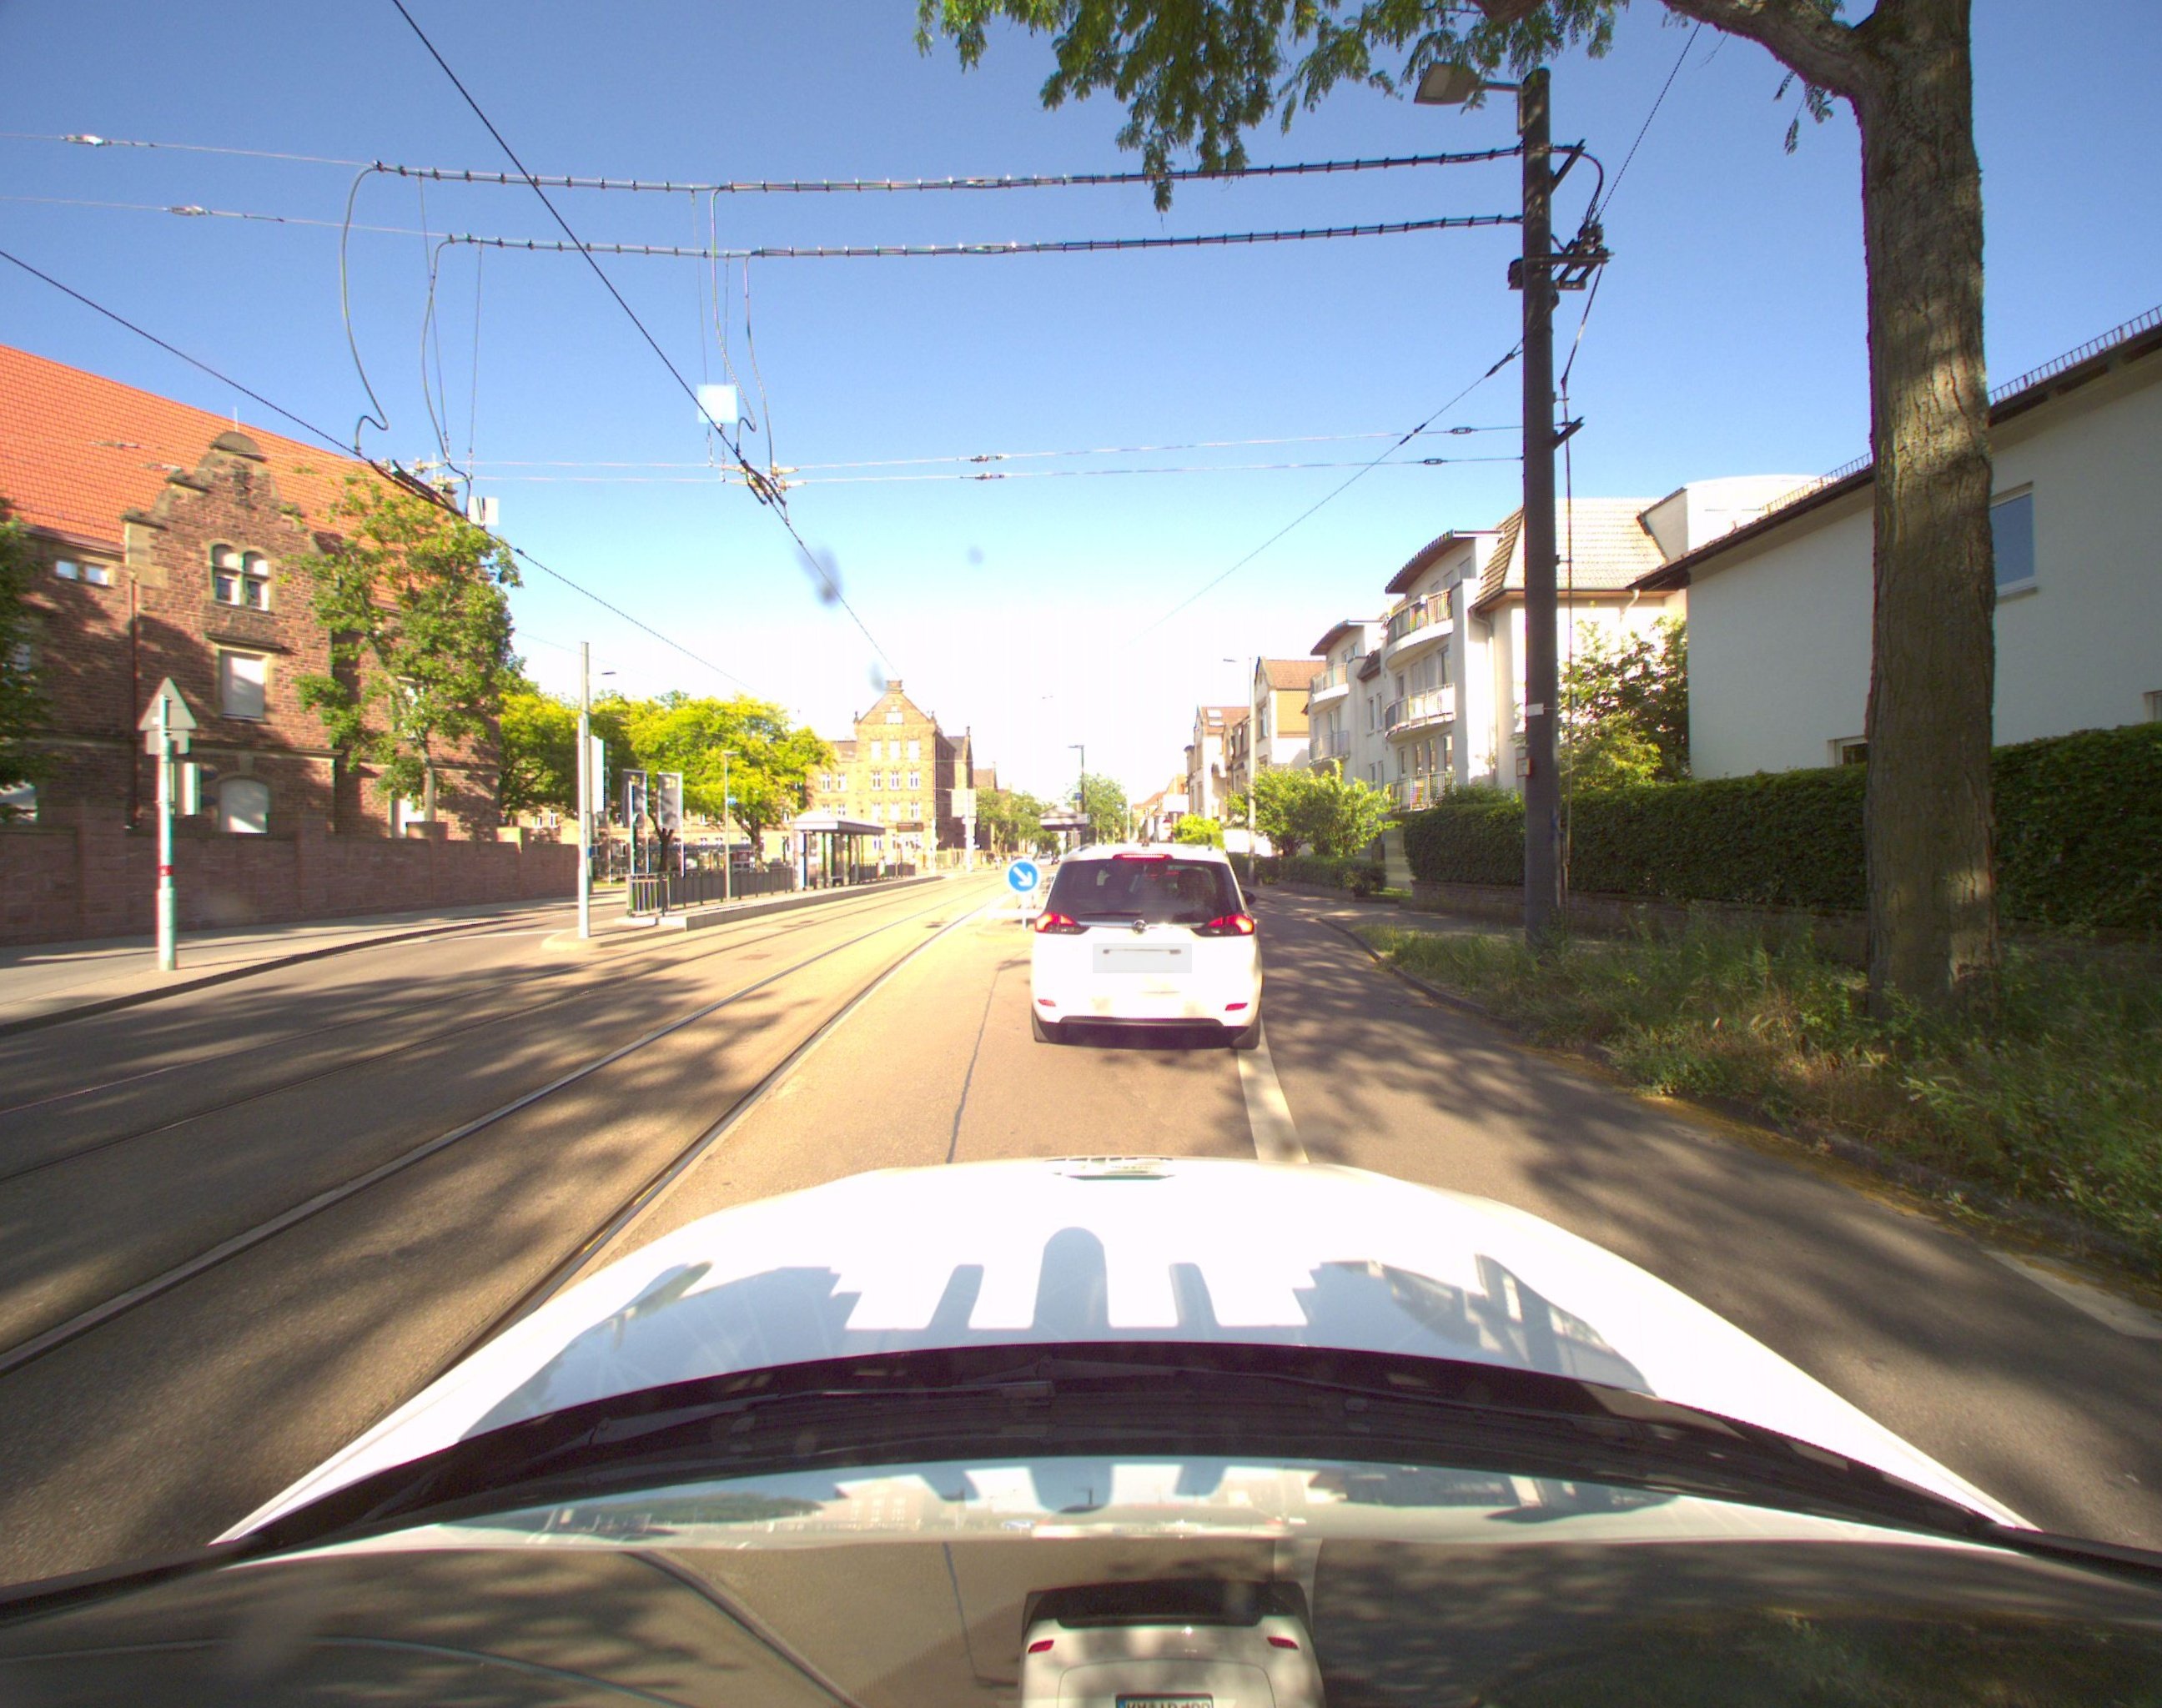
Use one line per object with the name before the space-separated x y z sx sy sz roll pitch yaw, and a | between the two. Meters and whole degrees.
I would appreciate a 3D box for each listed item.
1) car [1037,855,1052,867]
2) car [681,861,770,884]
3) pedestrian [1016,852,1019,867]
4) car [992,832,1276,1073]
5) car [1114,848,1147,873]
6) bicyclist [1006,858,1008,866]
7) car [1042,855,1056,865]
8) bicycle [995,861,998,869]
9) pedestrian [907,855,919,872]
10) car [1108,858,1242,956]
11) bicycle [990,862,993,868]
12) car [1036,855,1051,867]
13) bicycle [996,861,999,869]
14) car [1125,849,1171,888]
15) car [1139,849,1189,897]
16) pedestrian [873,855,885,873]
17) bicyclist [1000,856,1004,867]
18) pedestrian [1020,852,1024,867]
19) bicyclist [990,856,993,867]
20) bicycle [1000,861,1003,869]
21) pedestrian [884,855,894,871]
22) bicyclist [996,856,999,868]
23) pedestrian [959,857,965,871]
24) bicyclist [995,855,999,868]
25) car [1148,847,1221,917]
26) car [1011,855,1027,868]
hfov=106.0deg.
car | -4.815 0.906 107.610 1.989 1.629 3.996 -1 0 -3
car | -32.960 1.710 75.689 6.926 1.921 2.992 -1 0 0
pedestrian | -8.768 0.789 112.357 0.443 2.013 0.495 -1 0 -2
car | 0.643 0.687 7.692 1.982 1.644 4.003 0 0 8
car | 3.101 0.393 51.832 1.986 1.503 4.002 -1 0 2
bicyclist | -12.028 1.307 132.638 0.358 1.303 0.397 -1 0 -2
car | -5.130 0.925 130.979 1.987 1.629 4.000 -1 0 0
bicycle | -10.714 1.428 103.512 0.343 0.950 1.160 0 -1 -1
pedestrian | -16.548 0.920 80.151 0.892 1.684 1.029 0 -1 1
car | 1.531 0.795 14.054 1.944 1.397 4.005 -1 0 4
bicycle | -12.677 1.542 115.625 0.343 0.950 0.996 0 -1 -1
car | -5.296 0.968 114.733 1.989 1.629 3.996 -1 0 -3
bicycle | -11.003 1.459 107.054 0.343 0.950 0.996 0 -1 -1
car | 2.930 0.617 36.238 1.824 1.579 4.012 -1 0 2
car | 2.943 0.641 29.308 1.630 1.601 3.859 -1 0 4
pedestrian | -19.491 0.936 78.653 0.839 1.691 1.029 0 -1 1
bicyclist | -10.661 1.011 109.592 0.443 1.553 0.495 -1 0 -2
pedestrian | -8.155 0.787 112.637 0.443 2.013 0.495 -1 0 -2
bicyclist | -12.684 1.074 115.591 0.443 1.553 0.495 -1 0 -2
bicycle | -10.660 1.478 109.597 0.343 0.950 0.996 0 -1 -1
pedestrian | -19.187 0.927 81.264 0.799 1.588 0.934 0 -1 -1
bicyclist | -10.978 0.992 107.013 0.443 1.553 0.495 -1 0 -2
pedestrian | -14.729 1.244 100.915 0.732 1.714 0.706 0 -1 -2
bicyclist | -10.706 0.962 103.722 0.443 1.553 0.742 -1 0 -2
car | 2.572 0.642 20.882 1.630 1.601 3.859 -1 0 4
car | -8.191 0.938 107.468 1.989 1.629 3.996 -1 0 -3
